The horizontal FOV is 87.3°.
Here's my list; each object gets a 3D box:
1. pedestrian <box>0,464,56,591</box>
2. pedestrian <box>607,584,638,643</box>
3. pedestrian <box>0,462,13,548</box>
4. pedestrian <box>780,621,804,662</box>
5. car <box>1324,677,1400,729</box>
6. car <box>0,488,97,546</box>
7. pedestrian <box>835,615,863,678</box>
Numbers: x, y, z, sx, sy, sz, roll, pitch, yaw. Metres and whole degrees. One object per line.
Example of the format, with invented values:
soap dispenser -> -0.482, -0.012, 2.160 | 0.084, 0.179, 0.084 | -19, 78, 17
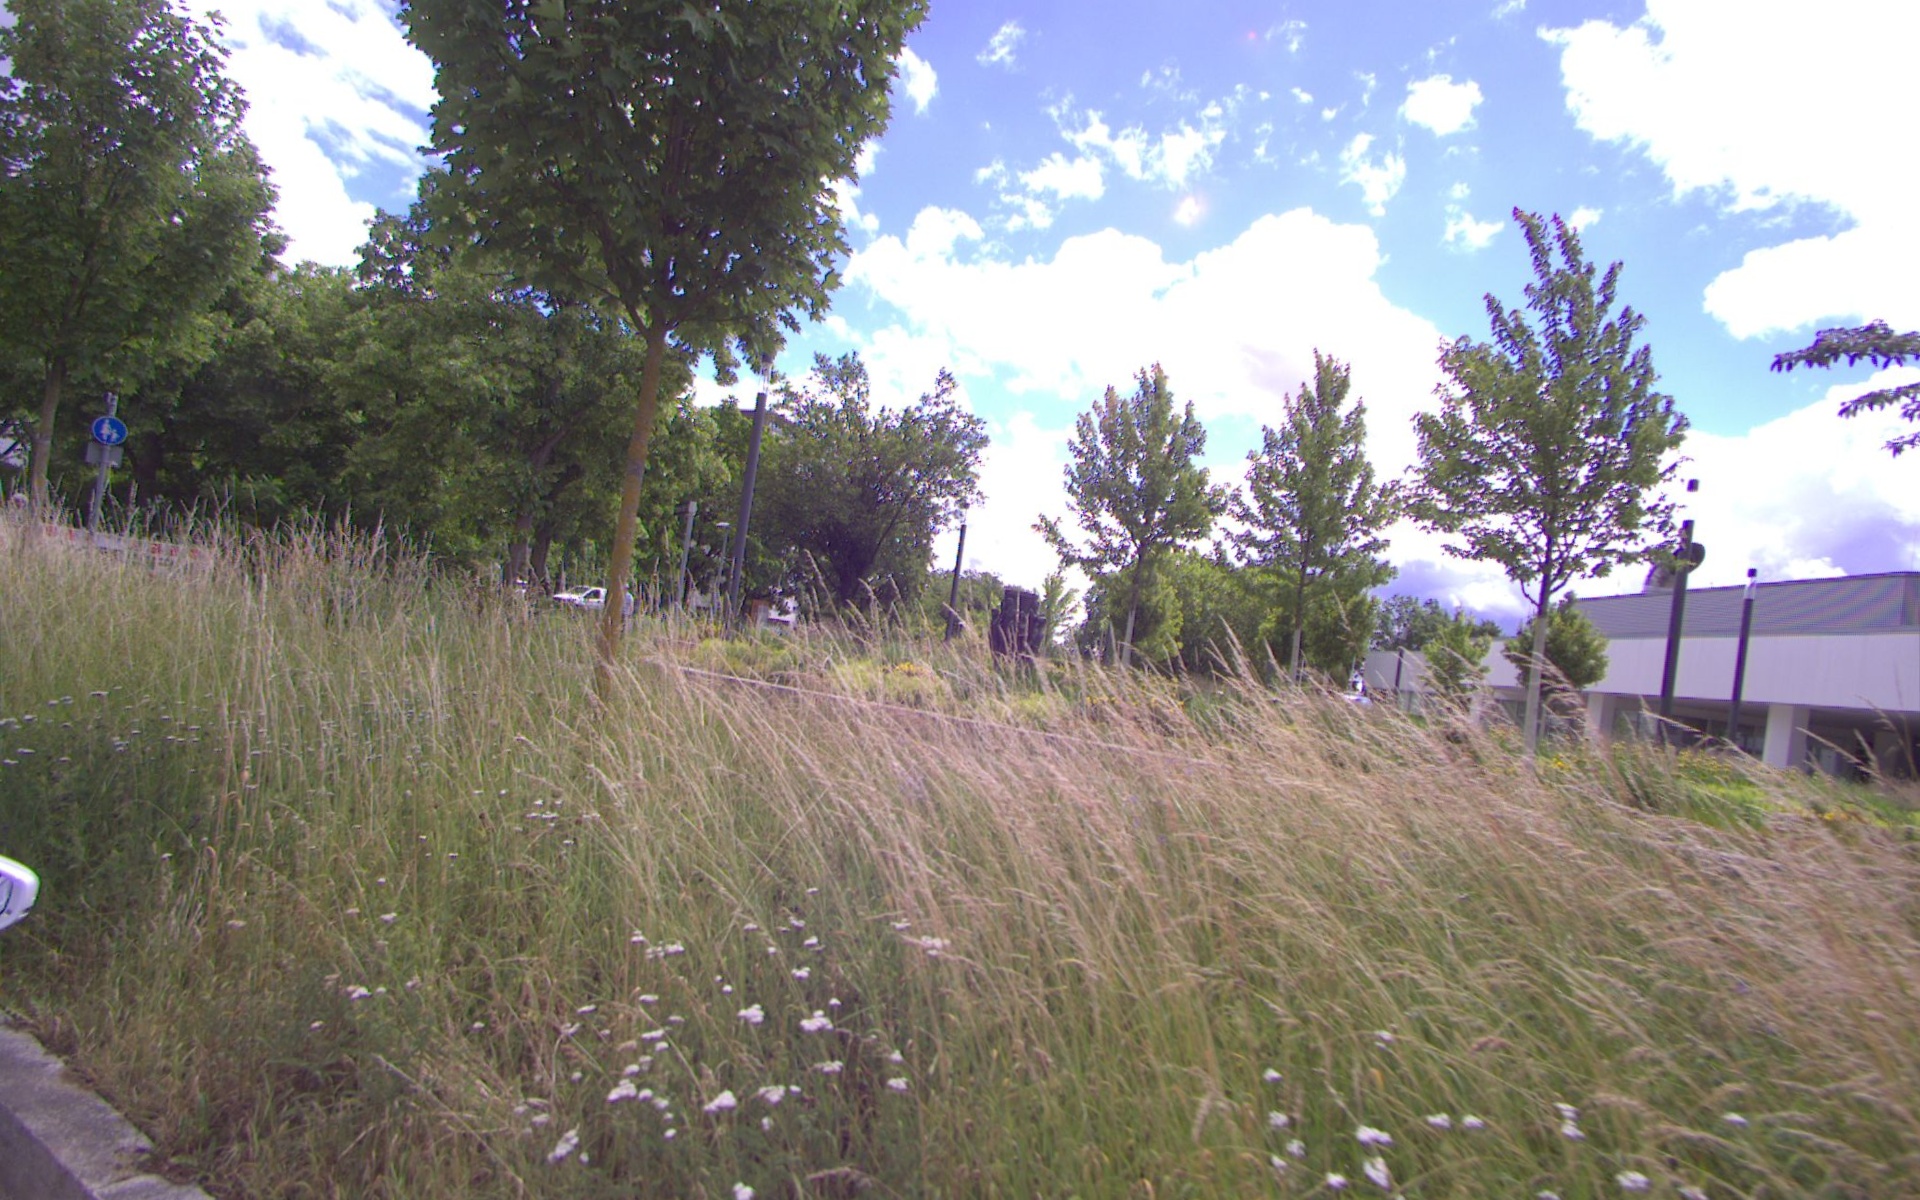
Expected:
pedestrian -> -15.930, -1.216, 17.022 | 0.483, 2.036, 0.563 | 7, -2, 22
pedestrian -> -10.478, 0.423, 31.234 | 0.567, 1.763, 0.488 | 8, -1, -5
pedestrian -> -15.927, -1.259, 16.124 | 0.623, 2.036, 0.674 | 7, -2, 22
pedestrian -> -7.051, 1.744, 42.215 | 0.636, 1.598, 0.488 | 8, -2, 18
car -> 23.691, 6.030, 59.549 | 2.406, 2.501, 4.793 | 8, -3, 2
car -> -34.172, -3.140, 36.358 | 1.966, 1.624, 3.998 | 7, -3, 30
pedestrian -> -3.622, 1.525, 32.856 | 0.399, 1.973, 0.577 | 7, -2, 32
